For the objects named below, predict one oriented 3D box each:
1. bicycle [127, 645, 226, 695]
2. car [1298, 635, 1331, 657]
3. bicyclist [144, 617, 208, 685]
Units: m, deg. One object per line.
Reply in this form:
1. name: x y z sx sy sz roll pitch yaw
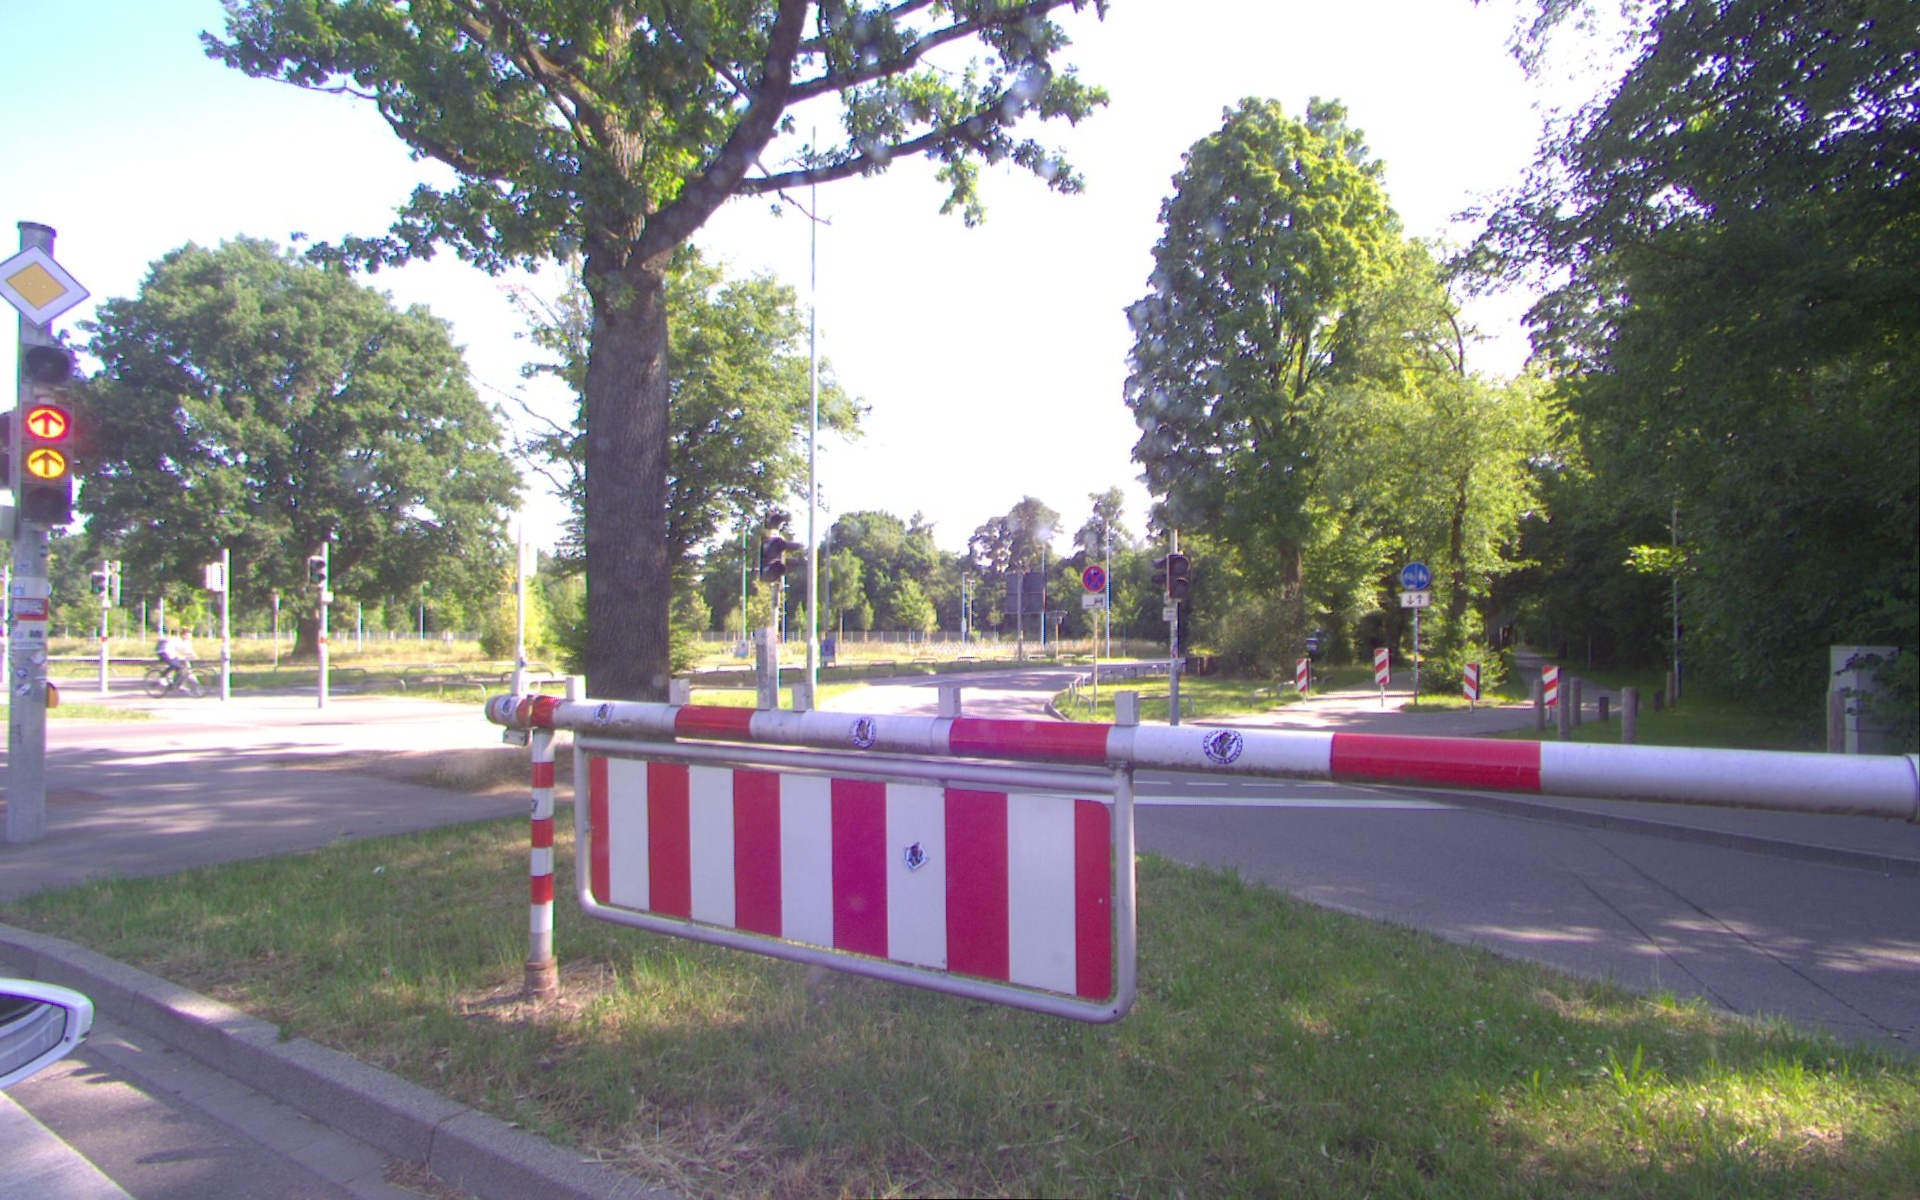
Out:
1. bicycle: -19.551 1.731 25.011 2.060 1.215 0.726 0 -1 9
2. car: 29.817 3.826 84.196 1.827 1.772 3.982 0 -2 31
3. bicyclist: -19.583 1.276 25.026 1.038 1.660 0.726 0 -1 9
